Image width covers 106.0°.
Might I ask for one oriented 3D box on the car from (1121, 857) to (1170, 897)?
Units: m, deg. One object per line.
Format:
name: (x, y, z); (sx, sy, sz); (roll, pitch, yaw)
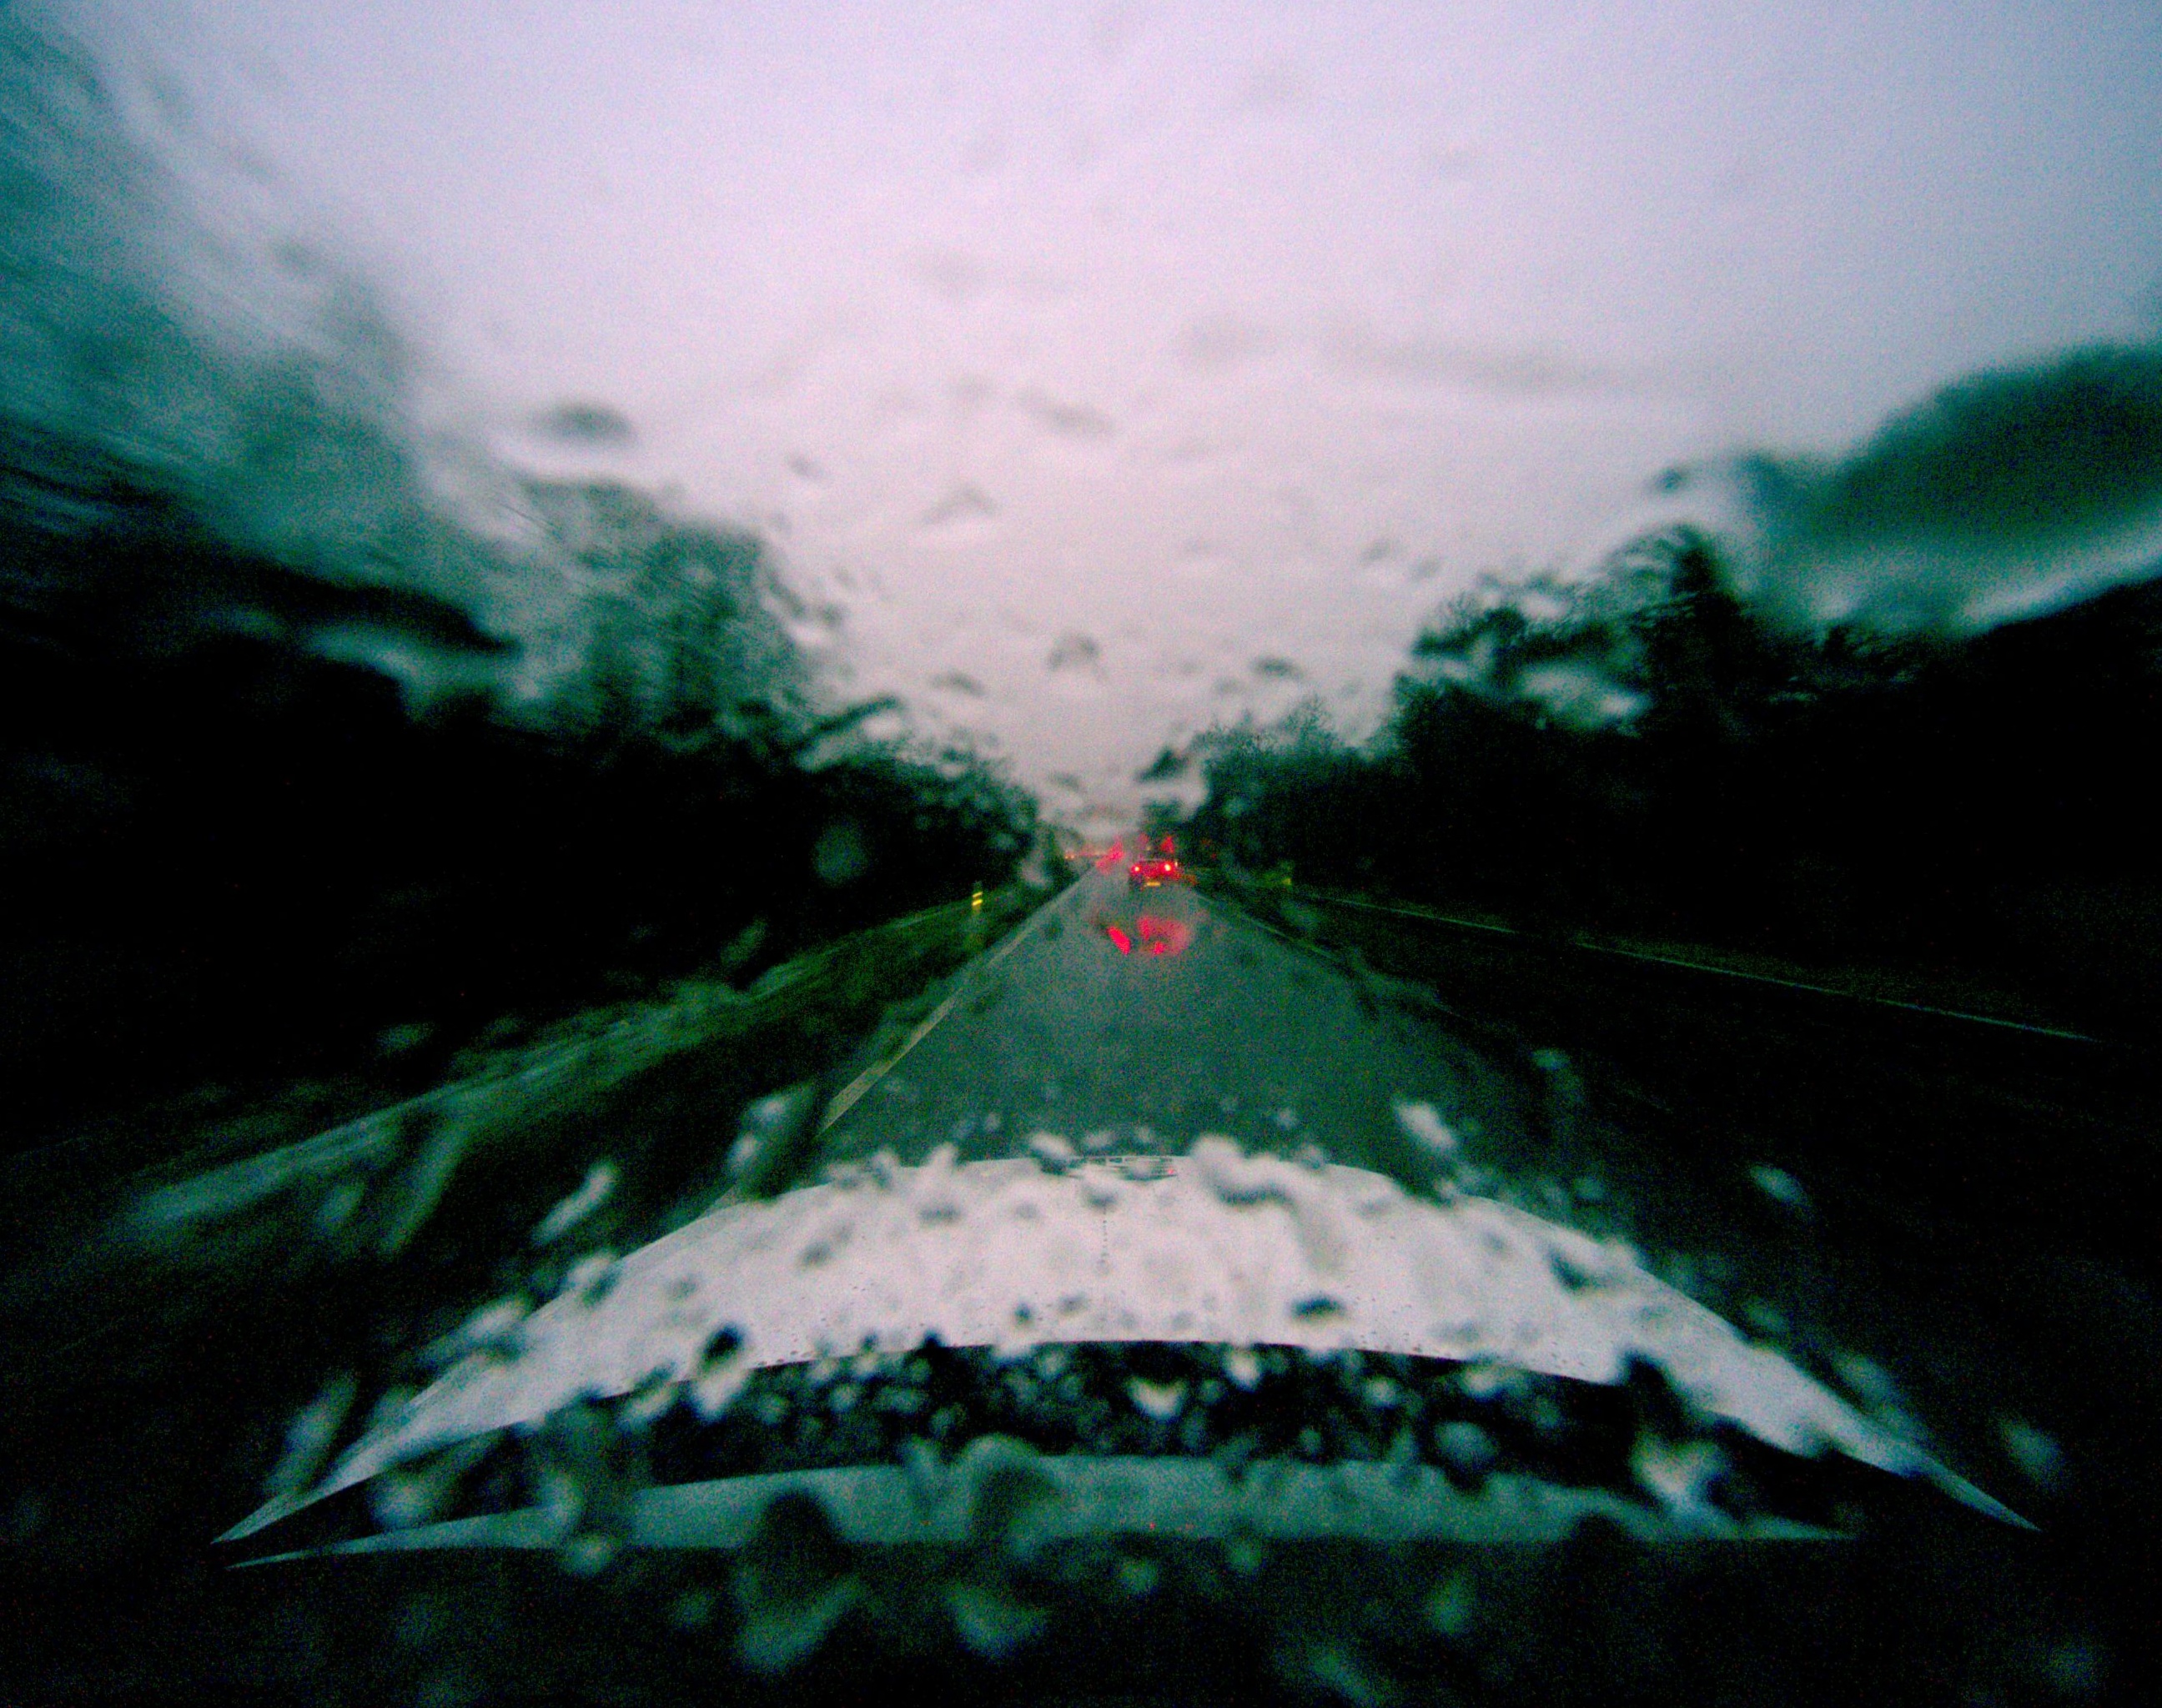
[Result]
car: (2.527, 0.898, 32.801); (1.725, 1.429, 3.767); (-3, -1, 2)
